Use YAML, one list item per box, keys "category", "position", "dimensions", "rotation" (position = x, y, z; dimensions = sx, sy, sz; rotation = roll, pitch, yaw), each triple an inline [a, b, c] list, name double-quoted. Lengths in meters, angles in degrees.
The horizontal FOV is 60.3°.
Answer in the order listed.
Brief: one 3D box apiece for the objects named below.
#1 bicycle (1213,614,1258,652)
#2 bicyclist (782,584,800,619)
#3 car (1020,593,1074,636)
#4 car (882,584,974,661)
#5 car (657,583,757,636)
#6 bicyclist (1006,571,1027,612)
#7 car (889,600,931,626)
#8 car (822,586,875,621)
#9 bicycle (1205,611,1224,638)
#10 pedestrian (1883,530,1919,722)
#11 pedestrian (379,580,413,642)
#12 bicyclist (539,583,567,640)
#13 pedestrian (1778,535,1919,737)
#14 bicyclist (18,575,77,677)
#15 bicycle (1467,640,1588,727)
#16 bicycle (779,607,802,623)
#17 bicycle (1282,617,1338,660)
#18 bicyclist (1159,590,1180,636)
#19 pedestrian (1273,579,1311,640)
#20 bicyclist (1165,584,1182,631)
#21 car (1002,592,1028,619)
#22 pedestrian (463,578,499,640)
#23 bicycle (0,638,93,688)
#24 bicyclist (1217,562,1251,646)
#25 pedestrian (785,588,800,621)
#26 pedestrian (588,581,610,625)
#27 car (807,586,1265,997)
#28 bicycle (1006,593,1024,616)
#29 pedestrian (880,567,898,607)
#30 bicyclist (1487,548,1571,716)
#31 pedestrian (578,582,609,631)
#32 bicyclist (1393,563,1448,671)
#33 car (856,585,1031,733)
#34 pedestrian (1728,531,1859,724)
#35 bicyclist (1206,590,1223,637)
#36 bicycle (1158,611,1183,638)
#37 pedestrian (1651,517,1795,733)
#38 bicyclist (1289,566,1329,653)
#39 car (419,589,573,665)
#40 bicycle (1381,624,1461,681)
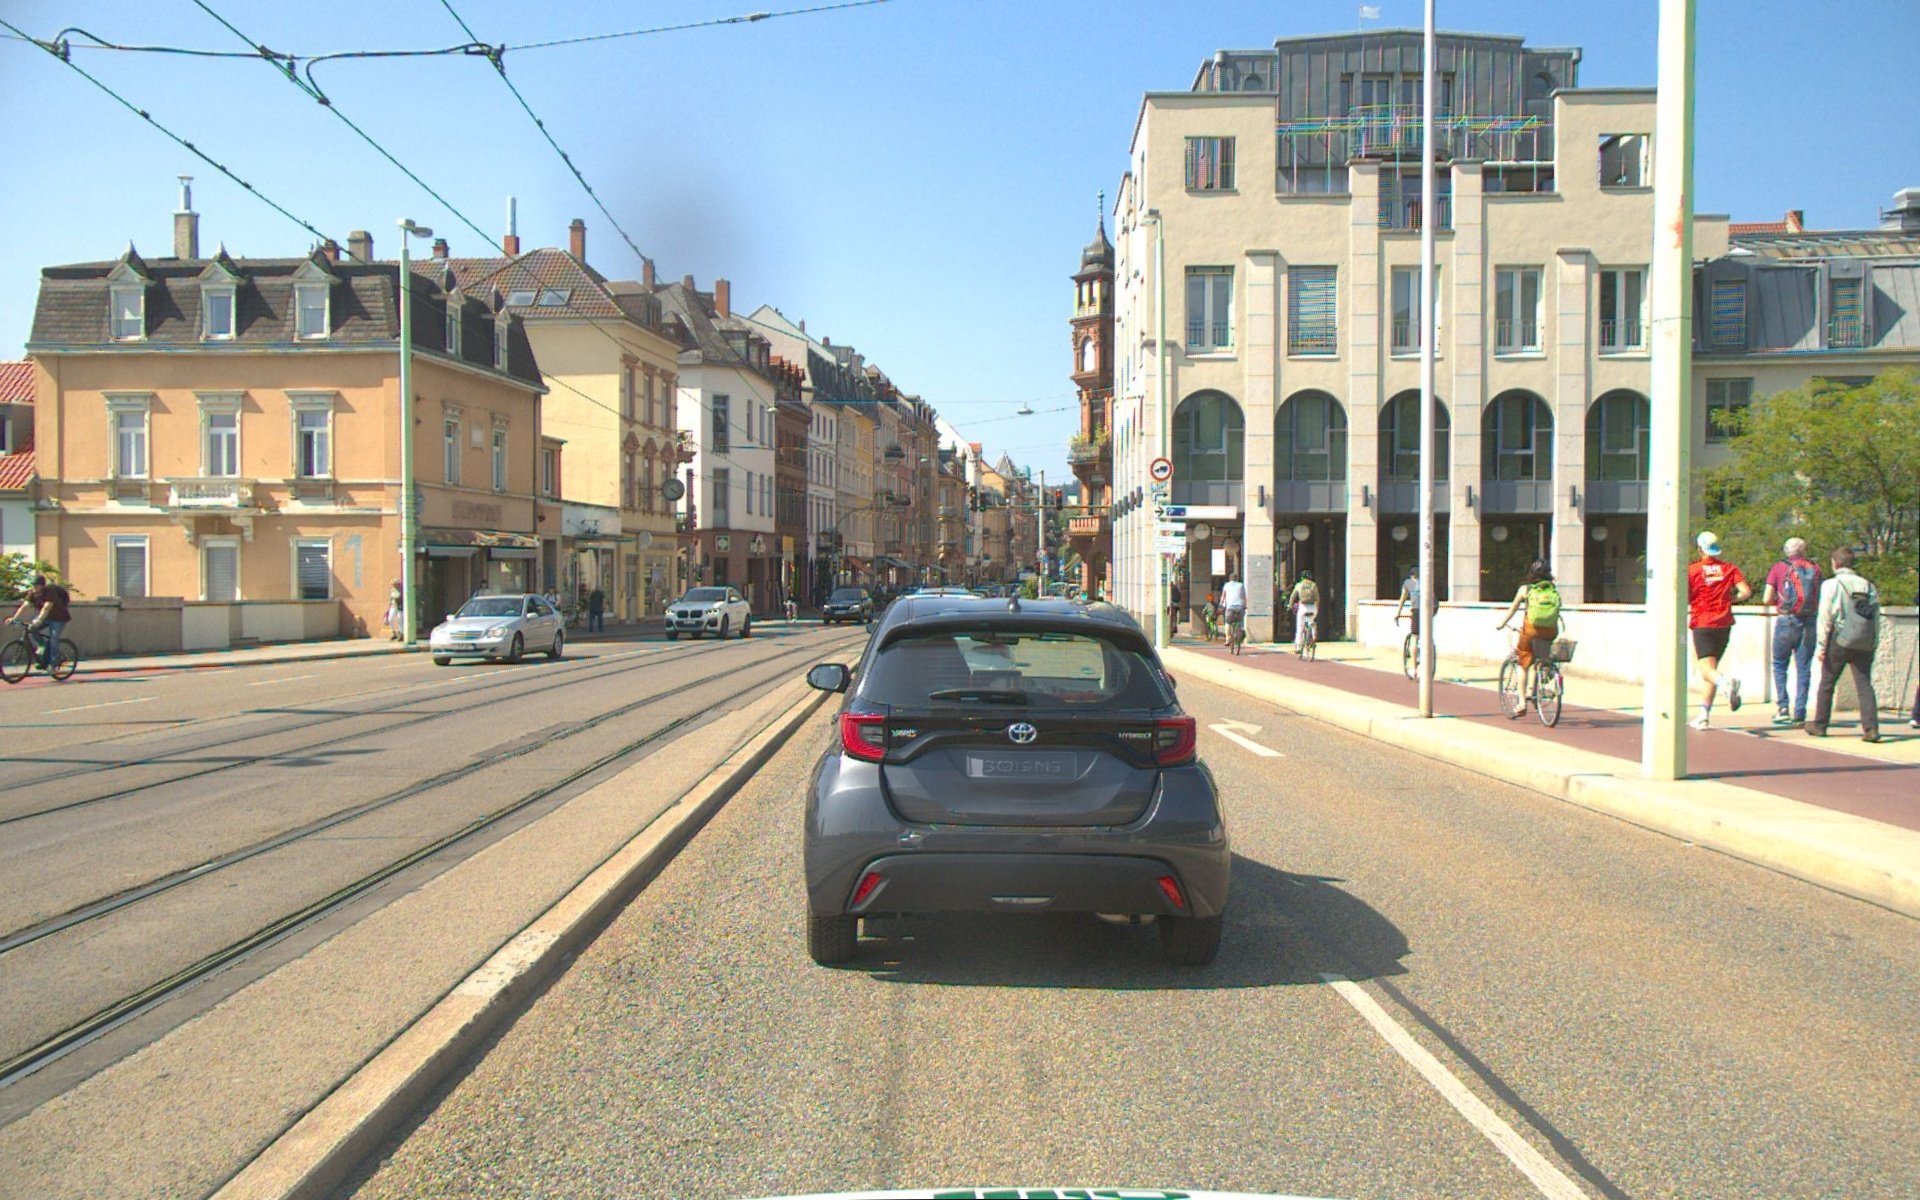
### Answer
- category: "bicycle"
  position: [6.127, 0.730, 36.898]
  dimensions: [0.582, 0.779, 1.865]
  rotation: [-1, 0, -3]
- category: "bicyclist"
  position: [-8.238, 0.078, 80.504]
  dimensions: [0.690, 1.679, 0.622]
  rotation: [2, 1, 8]
- category: "car"
  position: [3.228, 0.516, 62.038]
  dimensions: [1.671, 1.491, 4.325]
  rotation: [1, 0, -1]
- category: "car"
  position: [-0.703, 0.453, 36.289]
  dimensions: [1.859, 1.557, 3.999]
  rotation: [1, 0, -1]
- category: "car"
  position: [-8.007, 0.282, 52.686]
  dimensions: [1.951, 1.614, 4.656]
  rotation: [0, 0, 7]
- category: "bicyclist"
  position: [3.714, -0.572, 109.315]
  dimensions: [1.202, 2.572, 1.105]
  rotation: [4, 0, 3]
- category: "car"
  position: [-2.927, 0.760, 98.289]
  dimensions: [1.951, 1.457, 4.003]
  rotation: [1, 0, 6]
- category: "car"
  position: [-5.055, 0.163, 75.381]
  dimensions: [1.756, 1.572, 3.923]
  rotation: [0, 0, 6]
- category: "bicycle"
  position: [7.789, 0.743, 50.604]
  dimensions: [0.408, 0.779, 0.961]
  rotation: [-2, 0, -1]
- category: "pedestrian"
  position: [9.368, 0.236, 15.588]
  dimensions: [0.724, 1.808, 1.015]
  rotation: [-2, 0, -1]
- category: "pedestrian"
  position: [-15.589, 0.307, 45.720]
  dimensions: [0.636, 1.629, 0.566]
  rotation: [4, 2, -1]
- category: "bicyclist"
  position: [-12.307, 0.333, 50.018]
  dimensions: [0.614, 1.679, 0.622]
  rotation: [2, 1, 8]
- category: "pedestrian"
  position: [8.074, 0.312, 14.988]
  dimensions: [0.739, 1.748, 1.073]
  rotation: [-2, 0, -1]
- category: "bicyclist"
  position: [-15.338, 0.423, 27.808]
  dimensions: [0.614, 1.679, 0.622]
  rotation: [2, 1, 0]
- category: "bicycle"
  position: [5.869, 0.844, 17.195]
  dimensions: [0.581, 0.779, 1.866]
  rotation: [-1, 0, -1]
- category: "bicycle"
  position: [-8.238, 0.738, 80.574]
  dimensions: [0.607, 0.728, 2.047]
  rotation: [2, 1, 8]
- category: "bicycle"
  position: [6.816, 0.746, 32.313]
  dimensions: [0.582, 0.779, 1.865]
  rotation: [-1, 0, -3]
- category: "bicyclist"
  position: [6.479, 0.400, 51.095]
  dimensions: [0.523, 1.407, 0.669]
  rotation: [-2, 0, -1]
- category: "pedestrian"
  position: [9.294, 0.258, 46.314]
  dimensions: [0.724, 1.642, 1.015]
  rotation: [4, 0, -1]
- category: "bicyclist"
  position: [7.013, 0.243, 54.310]
  dimensions: [0.433, 1.492, 0.485]
  rotation: [-2, 0, 21]
- category: "car"
  position: [4.638, 0.460, 138.501]
  dimensions: [1.952, 2.048, 4.002]
  rotation: [4, 0, 4]
- category: "pedestrian"
  position: [-14.375, 0.255, 49.642]
  dimensions: [0.721, 1.796, 0.787]
  rotation: [4, 0, -1]
- category: "bicycle"
  position: [-15.350, 1.047, 27.838]
  dimensions: [0.608, 0.728, 1.731]
  rotation: [2, 1, -1]
- category: "bicyclist"
  position: [6.114, 0.081, 36.922]
  dimensions: [0.575, 1.852, 0.701]
  rotation: [-1, 0, -3]
- category: "pedestrian"
  position: [-9.202, 0.263, 90.839]
  dimensions: [0.721, 1.797, 0.787]
  rotation: [0, 1, -1]
- category: "pedestrian"
  position: [-14.089, 0.113, 64.613]
  dimensions: [0.636, 1.629, 0.566]
  rotation: [4, 2, -1]
- category: "car"
  position: [0.248, 0.707, 8.009]
  dimensions: [1.685, 1.499, 3.657]
  rotation: [1, 0, -1]
- category: "bicycle"
  position: [3.624, 0.281, 109.220]
  dimensions: [1.089, 1.444, 3.008]
  rotation: [4, 0, 2]
- category: "pedestrian"
  position: [-4.970, -0.908, 115.390]
  dimensions: [1.030, 2.632, 1.501]
  rotation: [4, 0, -1]
- category: "bicyclist"
  position: [5.861, 0.323, 17.055]
  dimensions: [0.592, 1.679, 0.702]
  rotation: [-1, 0, 0]
- category: "pedestrian"
  position: [-13.024, 0.246, 58.797]
  dimensions: [0.746, 1.682, 0.712]
  rotation: [4, 0, 7]
- category: "bicyclist"
  position: [6.894, 0.255, 24.772]
  dimensions: [0.575, 1.586, 0.701]
  rotation: [-1, 0, -3]
- category: "car"
  position: [-0.223, 0.628, 19.926]
  dimensions: [1.859, 1.557, 3.999]
  rotation: [1, 0, -1]
- category: "pedestrian"
  position: [8.253, 0.257, 16.416]
  dimensions: [0.724, 1.833, 1.015]
  rotation: [-2, 0, -1]
- category: "bicyclist"
  position: [7.780, 0.415, 50.608]
  dimensions: [0.413, 1.407, 0.443]
  rotation: [-2, 0, -1]
- category: "bicycle"
  position: [6.489, 0.754, 51.021]
  dimensions: [0.503, 0.779, 1.660]
  rotation: [-2, 0, -1]
- category: "pedestrian"
  position: [7.207, 0.228, 15.675]
  dimensions: [0.794, 1.958, 1.127]
  rotation: [-1, 0, -1]
- category: "bicyclist"
  position: [6.807, 0.184, 32.305]
  dimensions: [0.575, 1.679, 0.701]
  rotation: [-1, 0, -3]
- category: "car"
  position: [-9.629, 0.520, 34.696]
  dimensions: [1.694, 1.486, 4.376]
  rotation: [0, 0, 4]
- category: "bicycle"
  position: [6.899, 0.775, 24.811]
  dimensions: [0.582, 0.779, 1.830]
  rotation: [-1, 0, -3]
